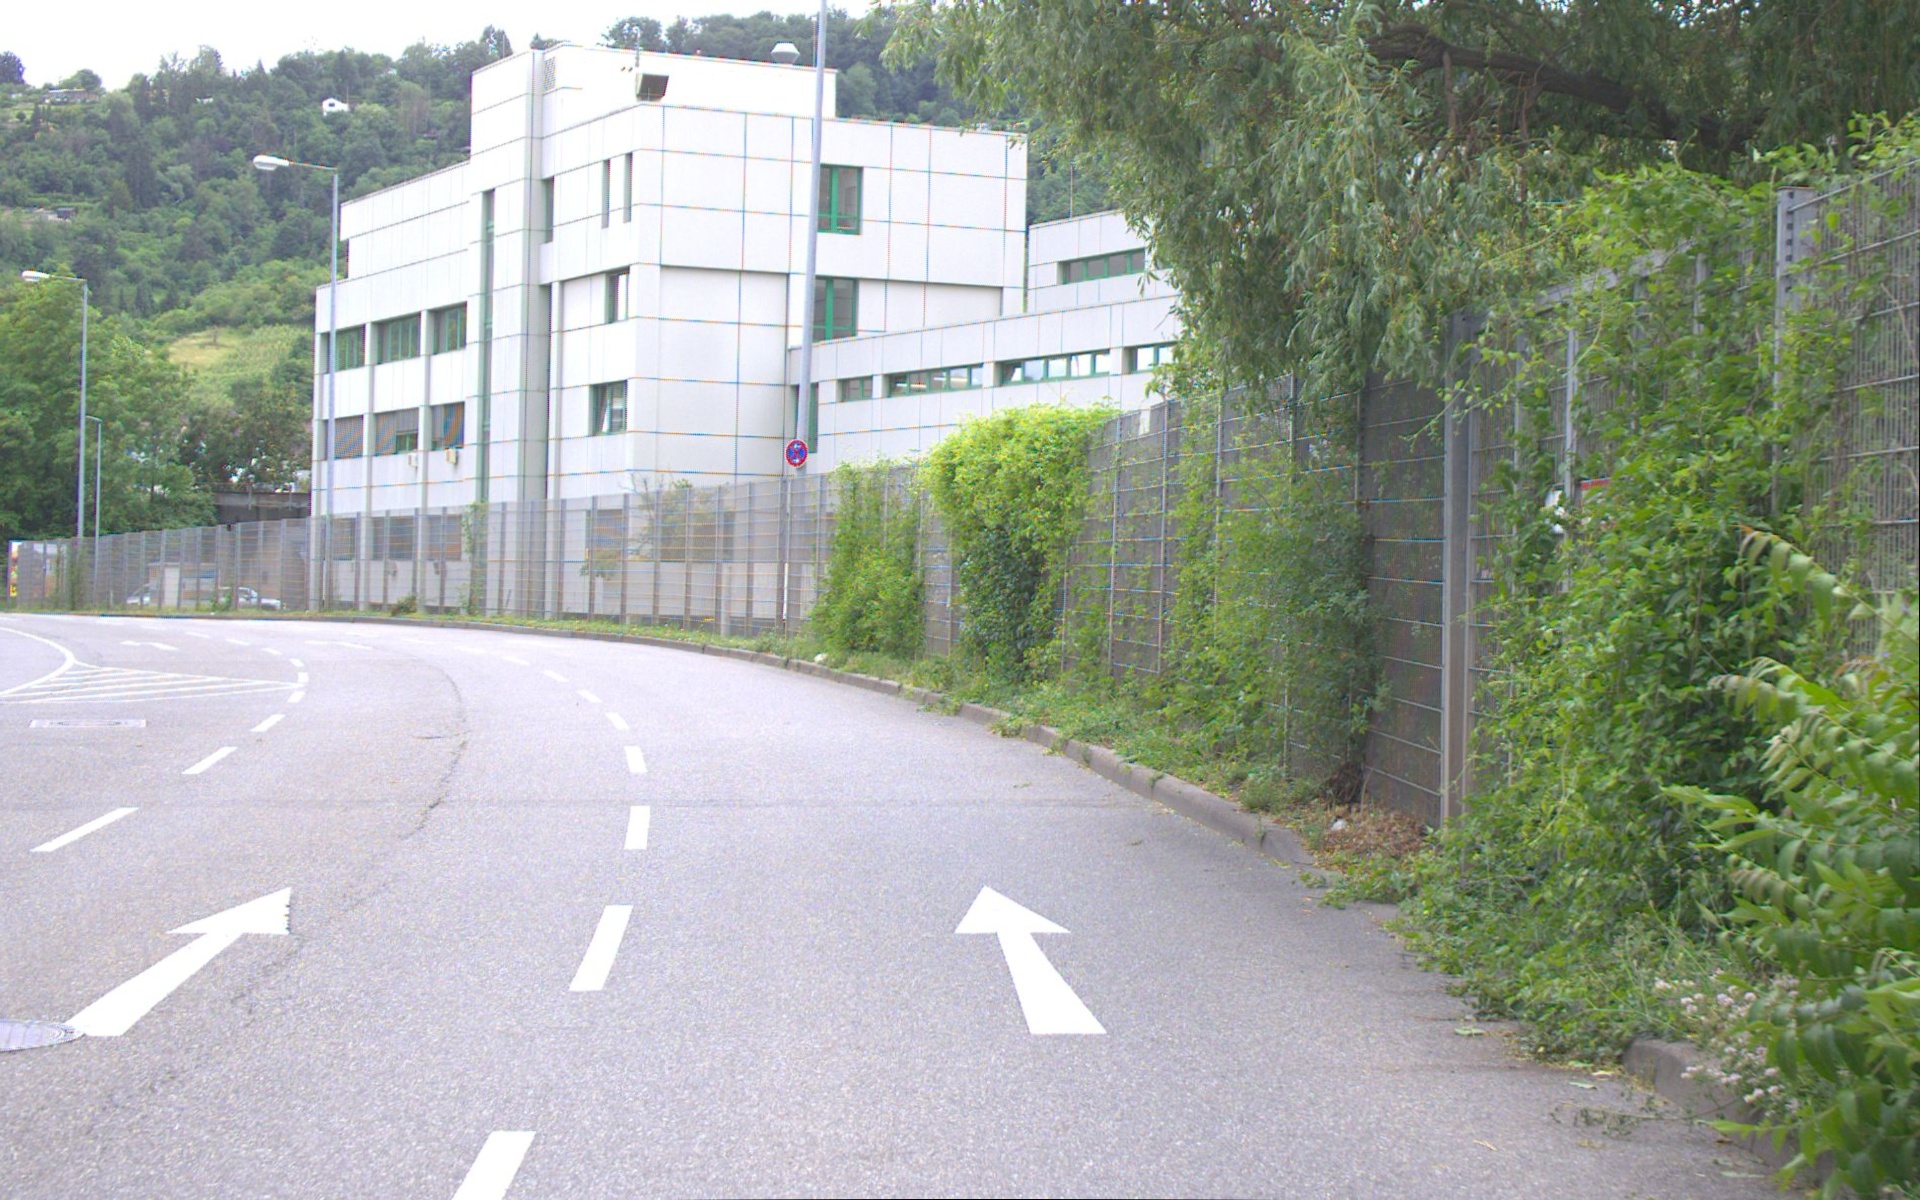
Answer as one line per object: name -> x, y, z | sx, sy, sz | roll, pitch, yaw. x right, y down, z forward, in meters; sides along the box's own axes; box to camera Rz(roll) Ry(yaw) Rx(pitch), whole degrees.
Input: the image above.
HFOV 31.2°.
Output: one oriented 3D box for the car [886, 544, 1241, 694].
car -> 1.637, 0.283, 56.946 | 1.994, 2.255, 6.166 | 3, -1, -44
